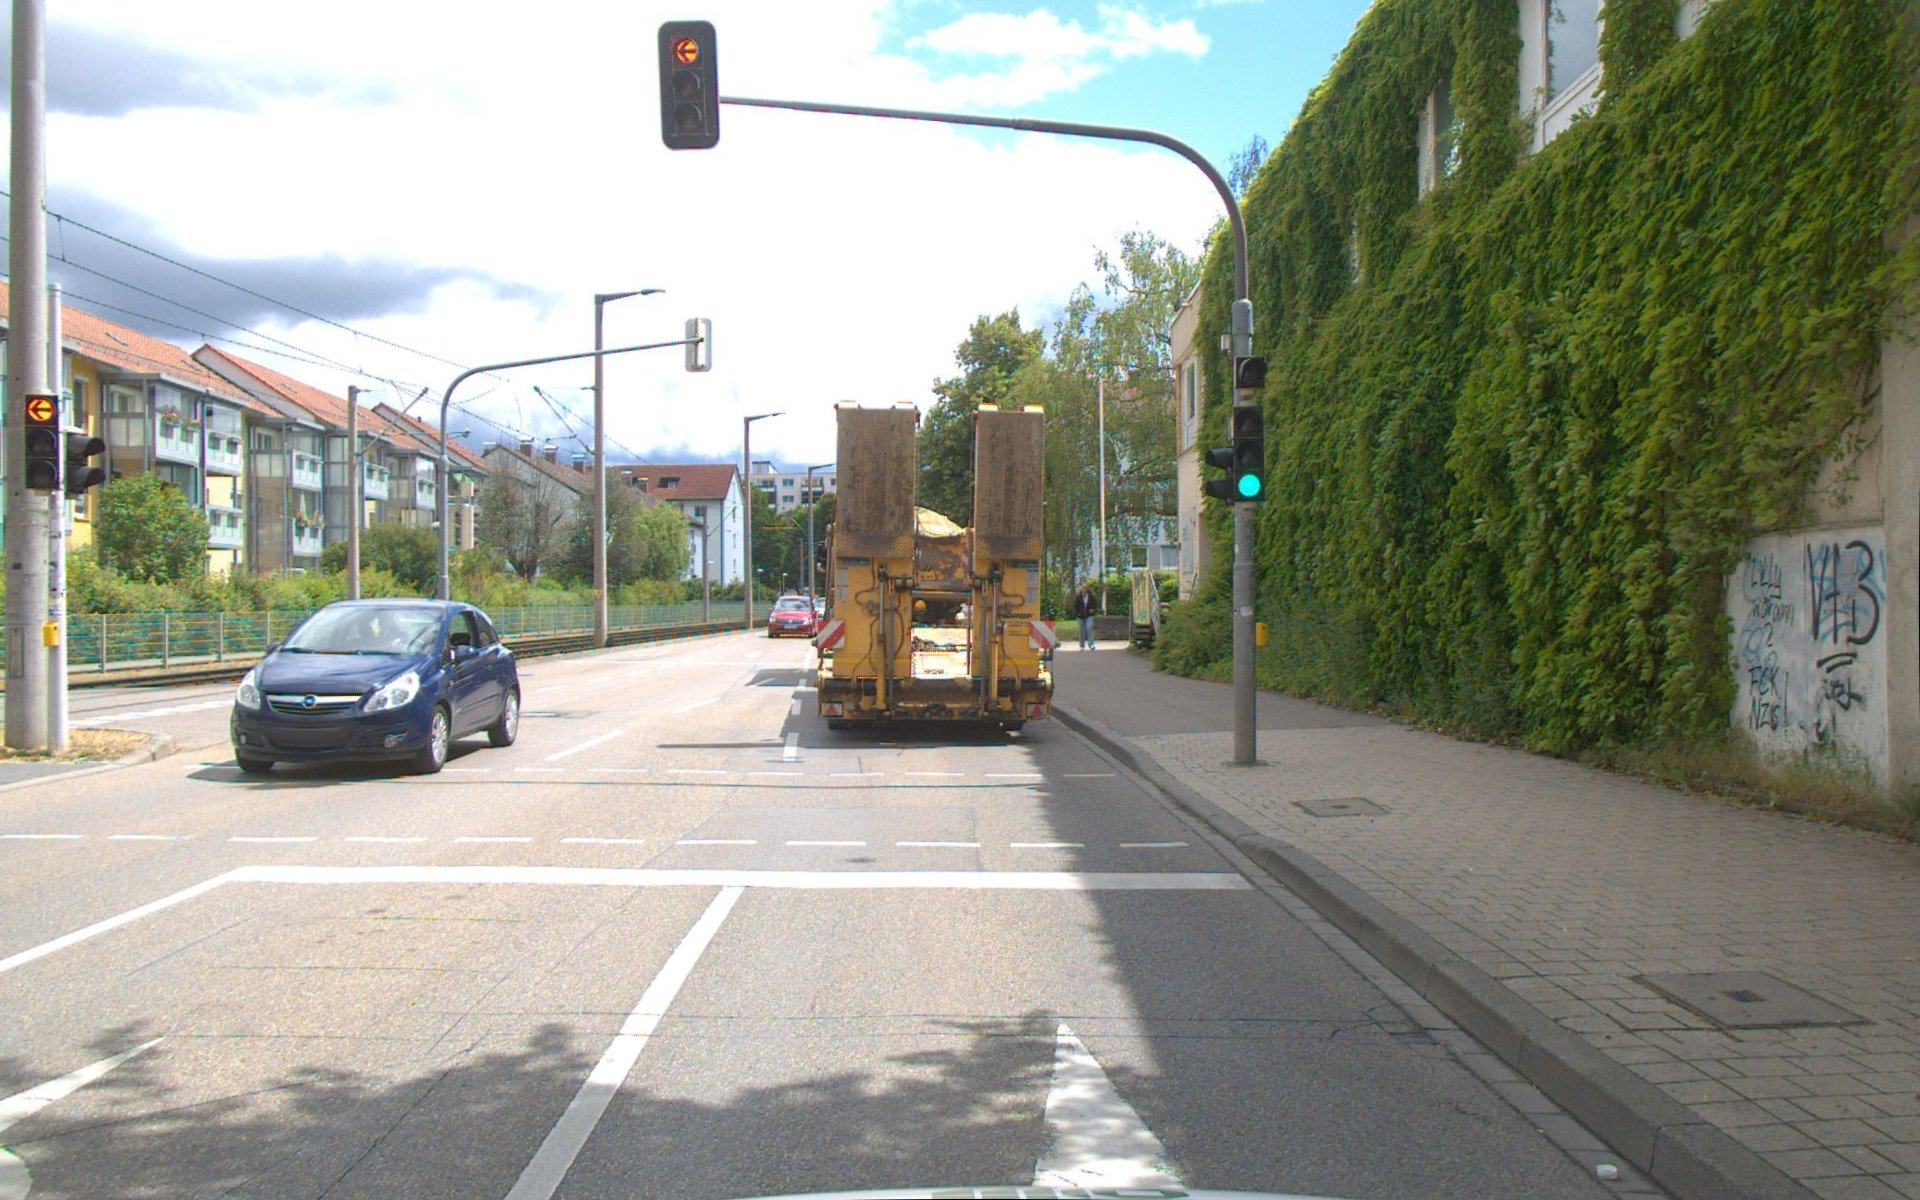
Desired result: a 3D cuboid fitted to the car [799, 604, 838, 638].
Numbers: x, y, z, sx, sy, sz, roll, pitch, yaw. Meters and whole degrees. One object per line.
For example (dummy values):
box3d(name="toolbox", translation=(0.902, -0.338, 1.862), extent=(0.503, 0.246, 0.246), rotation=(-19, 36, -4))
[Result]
box3d(name="car", translation=(-6.724, 1.003, 78.962), extent=(1.725, 1.579, 3.997), rotation=(1, 0, -3))

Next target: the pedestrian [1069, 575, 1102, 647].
box3d(name="pedestrian", translation=(3.185, 0.275, 41.950), extent=(0.792, 1.802, 0.817), rotation=(1, -1, 5))

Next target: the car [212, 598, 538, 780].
box3d(name="car", translation=(-5.225, 0.738, 15.342), extent=(1.683, 1.466, 4.007), rotation=(0, -1, -2))

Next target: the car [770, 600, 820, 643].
box3d(name="car", translation=(-6.297, 0.807, 63.513), extent=(1.630, 1.579, 3.998), rotation=(1, 0, -2))

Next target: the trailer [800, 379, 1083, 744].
box3d(name="trailer", translation=(-0.762, -0.357, 23.215), extent=(2.773, 3.710, 12.337), rotation=(1, 0, -6))
